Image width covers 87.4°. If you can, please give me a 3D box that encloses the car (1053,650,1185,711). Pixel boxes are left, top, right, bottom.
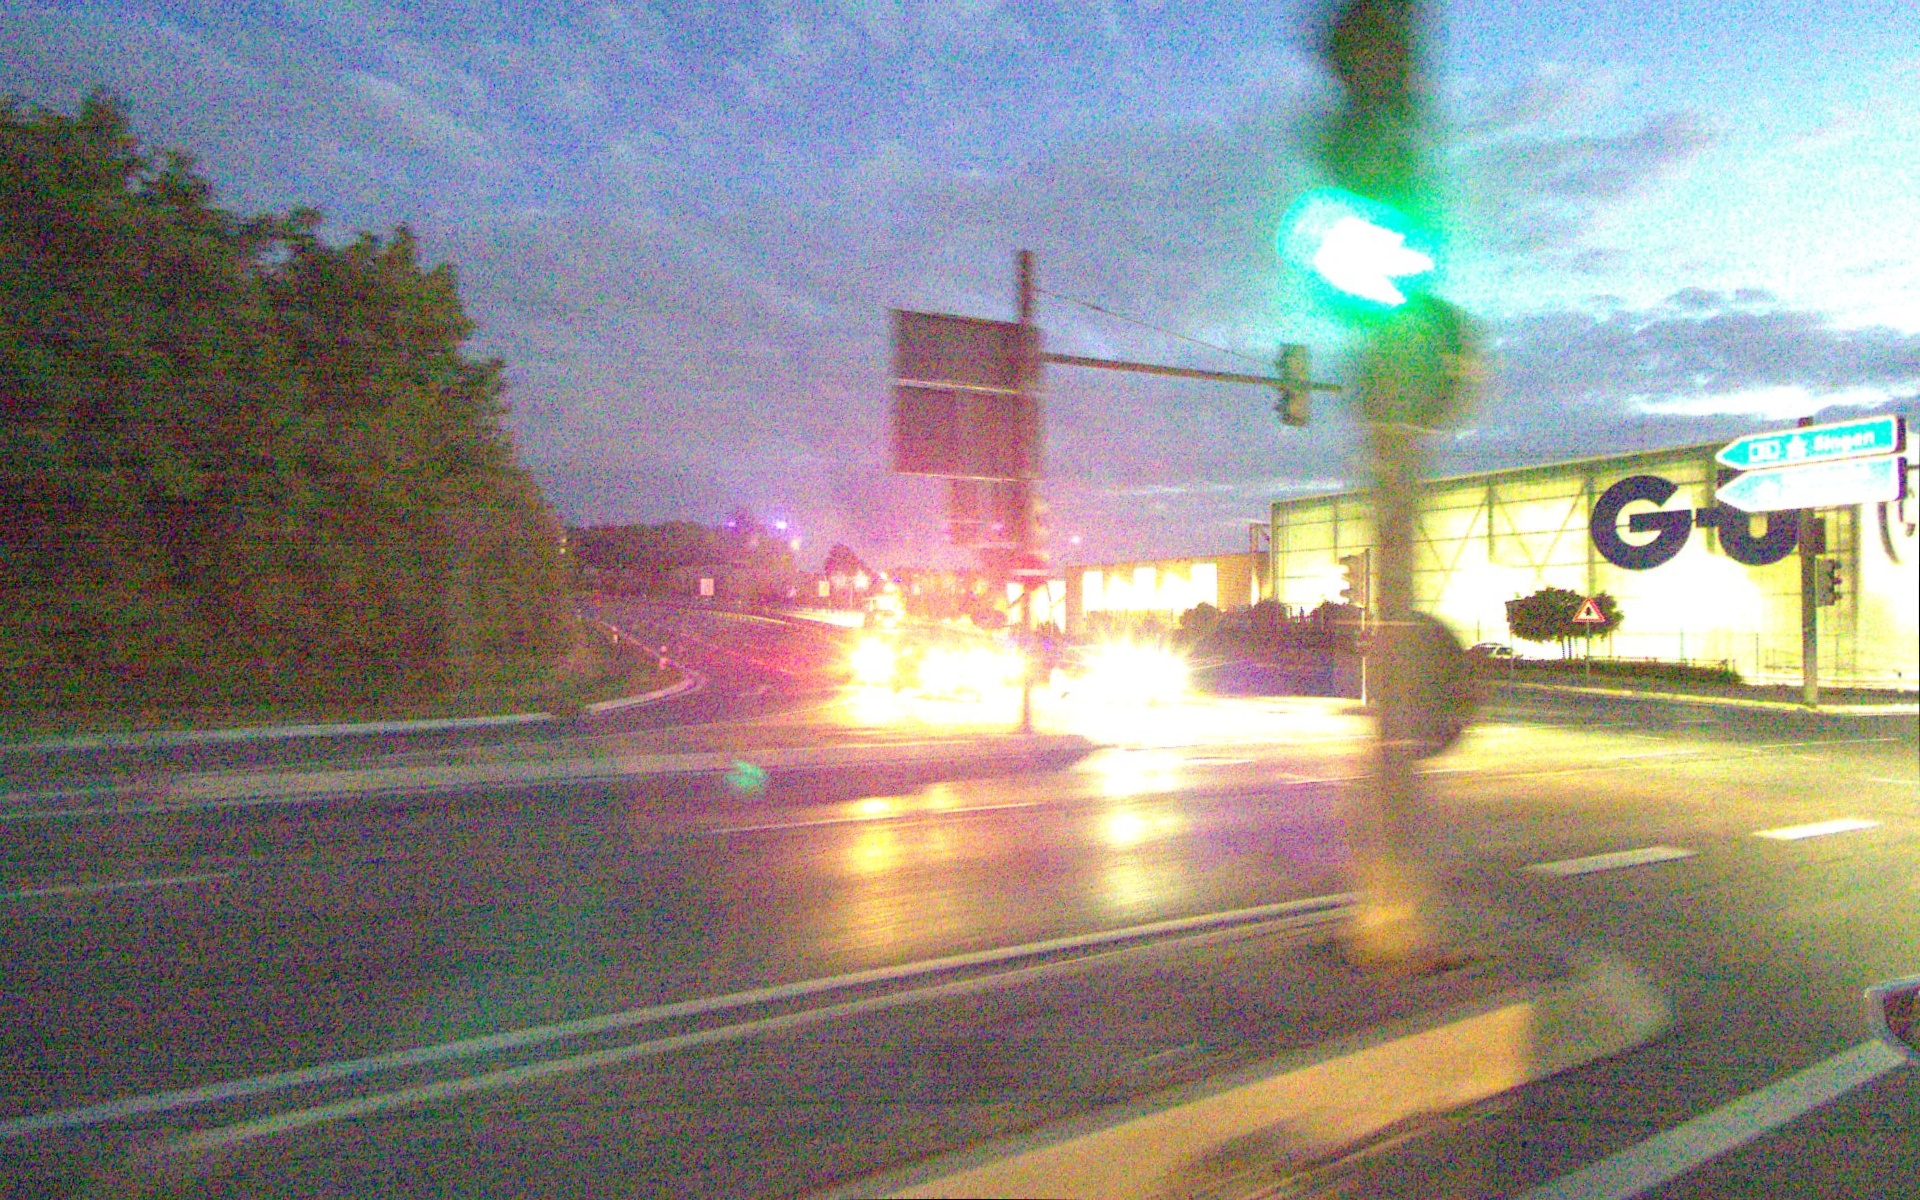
[{"bbox_3d":[4.121,2.091,26.648,1.681,1.494,3.849,2,-3,-23],"label":"car"}]

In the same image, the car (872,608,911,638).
[{"bbox_3d":[-5.070,1.666,74.032,1.968,2.040,3.985,2,-1,-17],"label":"car"}]

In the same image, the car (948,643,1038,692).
[{"bbox_3d":[1.092,2.294,34.914,1.690,1.463,3.965,1,-1,-21],"label":"car"}]

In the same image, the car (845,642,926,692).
[{"bbox_3d":[-2.558,2.186,33.596,1.664,1.479,3.793,0,-1,-21],"label":"car"}]

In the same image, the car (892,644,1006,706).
[{"bbox_3d":[-0.381,1.970,26.993,1.734,1.479,3.980,3,-3,-22],"label":"car"}]
